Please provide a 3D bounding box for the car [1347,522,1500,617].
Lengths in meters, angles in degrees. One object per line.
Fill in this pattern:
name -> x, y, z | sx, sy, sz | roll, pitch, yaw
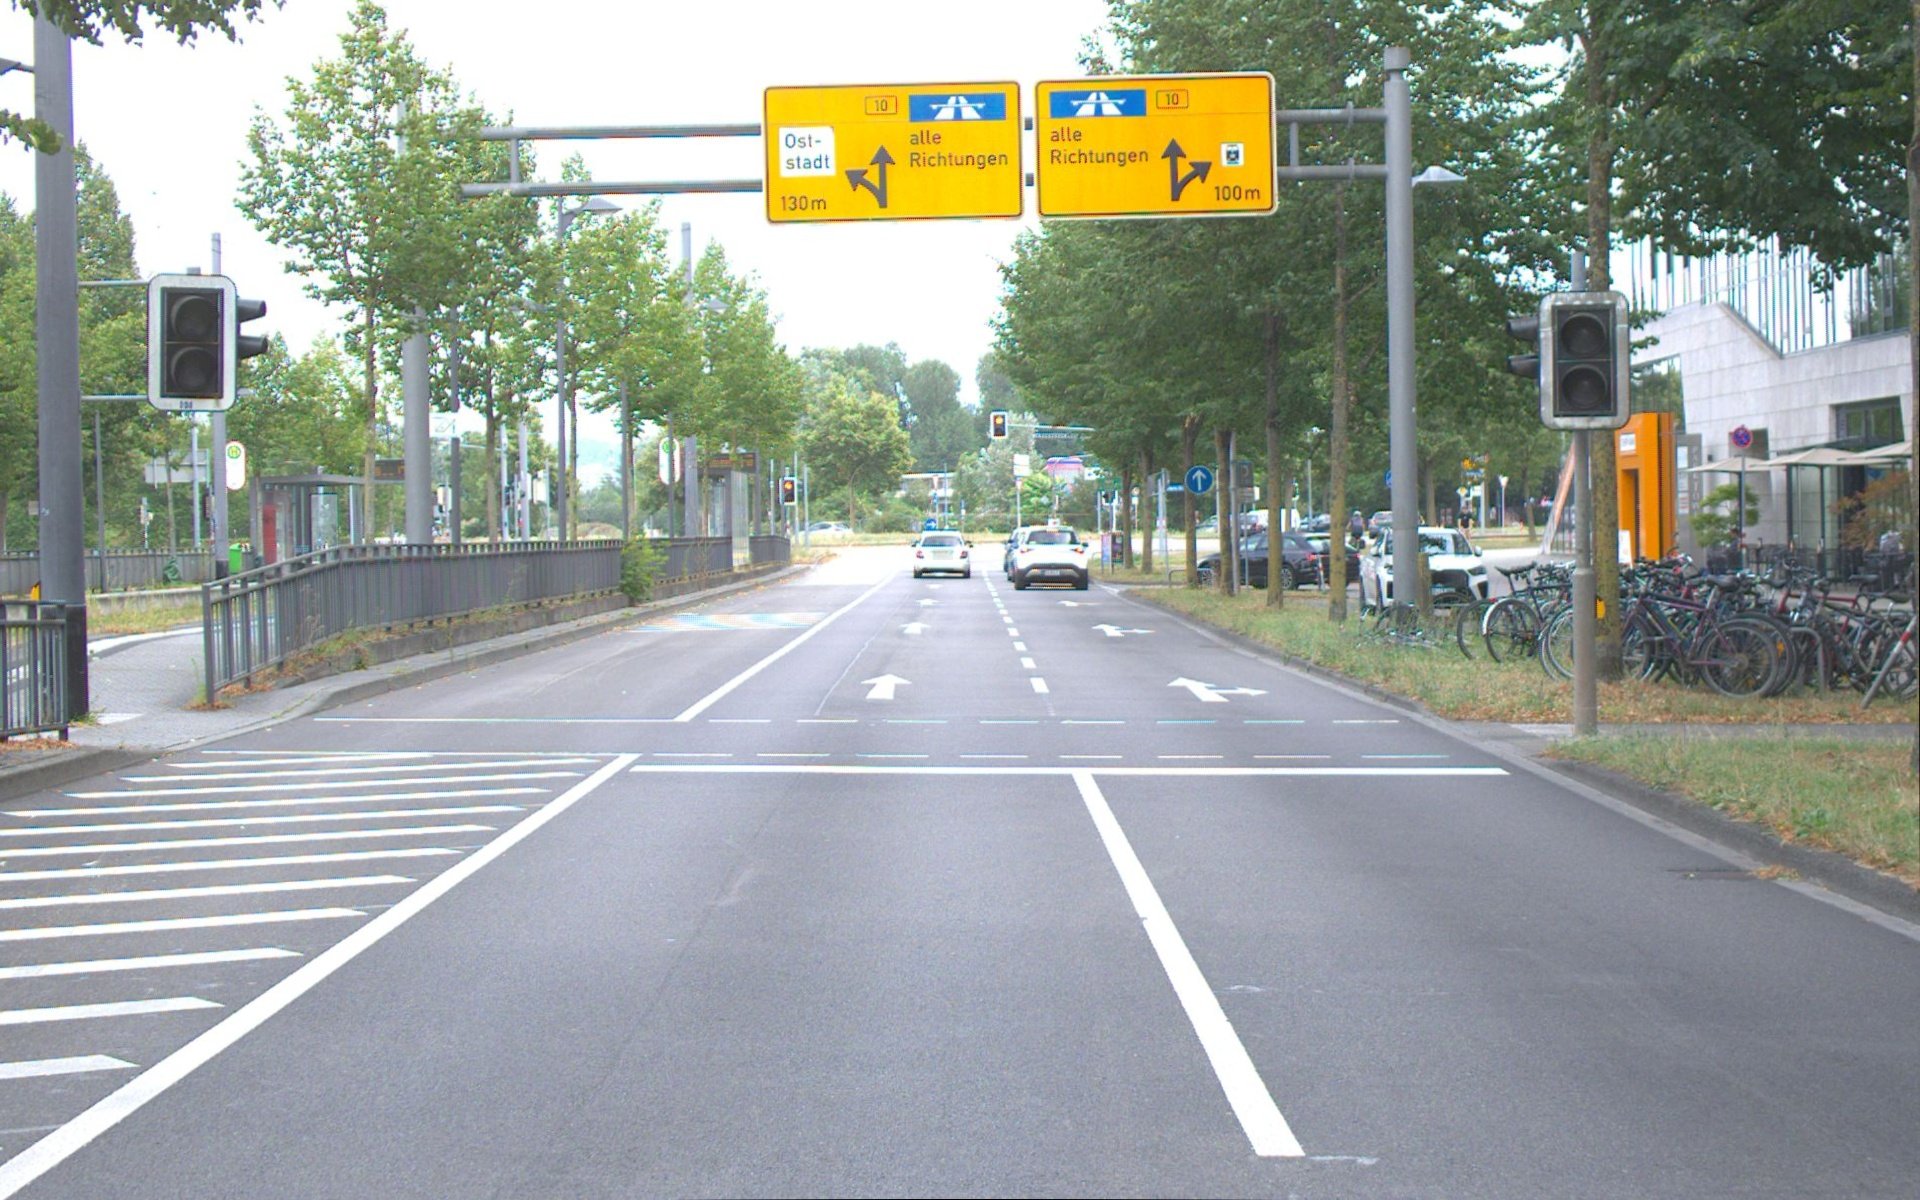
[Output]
car -> 7.898, -0.555, 58.908 | 1.938, 1.546, 4.594 | -1, 1, -1

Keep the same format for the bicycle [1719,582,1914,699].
bicycle -> 7.381, 0.347, 29.651 | 1.529, 0.950, 0.484 | 1, 1, -3

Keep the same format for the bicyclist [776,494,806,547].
bicyclist -> -5.999, -2.820, 122.001 | 0.732, 1.879, 0.730 | -4, 3, -41

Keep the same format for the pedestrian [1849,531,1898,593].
pedestrian -> 17.661, -0.742, 66.492 | 0.718, 1.188, 0.759 | -1, 1, -1

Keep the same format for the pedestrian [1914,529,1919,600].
pedestrian -> 16.735, -0.619, 58.806 | 0.773, 1.188, 1.105 | -1, 1, 15

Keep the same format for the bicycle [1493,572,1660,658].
bicycle -> 7.461, 0.183, 41.653 | 1.860, 0.948, 0.653 | 2, 1, -3

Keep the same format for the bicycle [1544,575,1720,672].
bicycle -> 7.324, 0.254, 37.504 | 1.743, 0.971, 0.609 | 2, 1, -8

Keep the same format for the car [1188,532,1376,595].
car -> 7.907, -0.905, 84.848 | 1.941, 1.470, 4.870 | -2, 1, -35

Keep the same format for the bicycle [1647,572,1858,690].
bicycle -> 7.350, 0.283, 31.910 | 1.772, 1.008, 0.610 | 2, 1, -8

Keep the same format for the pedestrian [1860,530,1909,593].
pedestrian -> 17.650, -0.732, 65.641 | 0.719, 1.188, 0.759 | -1, 1, 2

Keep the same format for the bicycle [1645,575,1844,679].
bicycle -> 7.442, 0.256, 32.637 | 1.714, 0.903, 0.589 | 2, 1, -8

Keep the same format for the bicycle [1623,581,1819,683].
bicycle -> 7.357, 0.303, 33.252 | 1.714, 0.903, 0.589 | 2, 1, -8

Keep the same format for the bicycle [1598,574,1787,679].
bicycle -> 7.355, 0.263, 34.546 | 1.714, 0.971, 0.609 | 2, 1, -8

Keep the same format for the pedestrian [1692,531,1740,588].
pedestrian -> 16.564, -0.892, 75.306 | 0.898, 1.224, 0.950 | -1, 1, 5

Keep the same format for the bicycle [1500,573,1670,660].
bicycle -> 7.428, 0.190, 40.911 | 1.860, 0.948, 0.613 | 2, 1, -3

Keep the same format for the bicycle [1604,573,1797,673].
bicycle -> 7.294, 0.222, 33.886 | 1.714, 0.903, 0.589 | 2, 1, -8

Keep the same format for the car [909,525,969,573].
car -> -0.681, -1.618, 107.526 | 1.773, 1.443, 3.911 | -1, 1, -1

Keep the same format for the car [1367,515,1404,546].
car -> 23.048, -3.778, 186.126 | 1.784, 1.630, 4.400 | -1, 1, 10

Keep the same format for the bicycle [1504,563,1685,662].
bicycle -> 7.419, 0.147, 40.218 | 1.929, 1.061, 0.705 | 2, 1, -3

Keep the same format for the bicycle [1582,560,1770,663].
bicycle -> 7.325, 0.112, 35.194 | 1.743, 0.971, 0.609 | 2, 1, -8

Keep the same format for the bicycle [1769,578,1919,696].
bicycle -> 7.644, 0.310, 28.879 | 1.529, 0.950, 0.552 | 1, 1, -3

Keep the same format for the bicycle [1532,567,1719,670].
bicycle -> 7.381, 0.203, 38.149 | 1.929, 1.061, 0.544 | 2, 1, -8

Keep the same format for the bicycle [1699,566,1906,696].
bicycle -> 7.438, 0.270, 30.386 | 1.668, 1.087, 0.525 | 1, 1, -3

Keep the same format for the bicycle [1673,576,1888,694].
bicycle -> 7.443, 0.315, 31.217 | 1.772, 1.008, 0.610 | 1, 1, -8

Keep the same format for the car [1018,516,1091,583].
car -> 2.408, -1.312, 88.298 | 1.779, 1.651, 4.023 | -1, 1, 0
